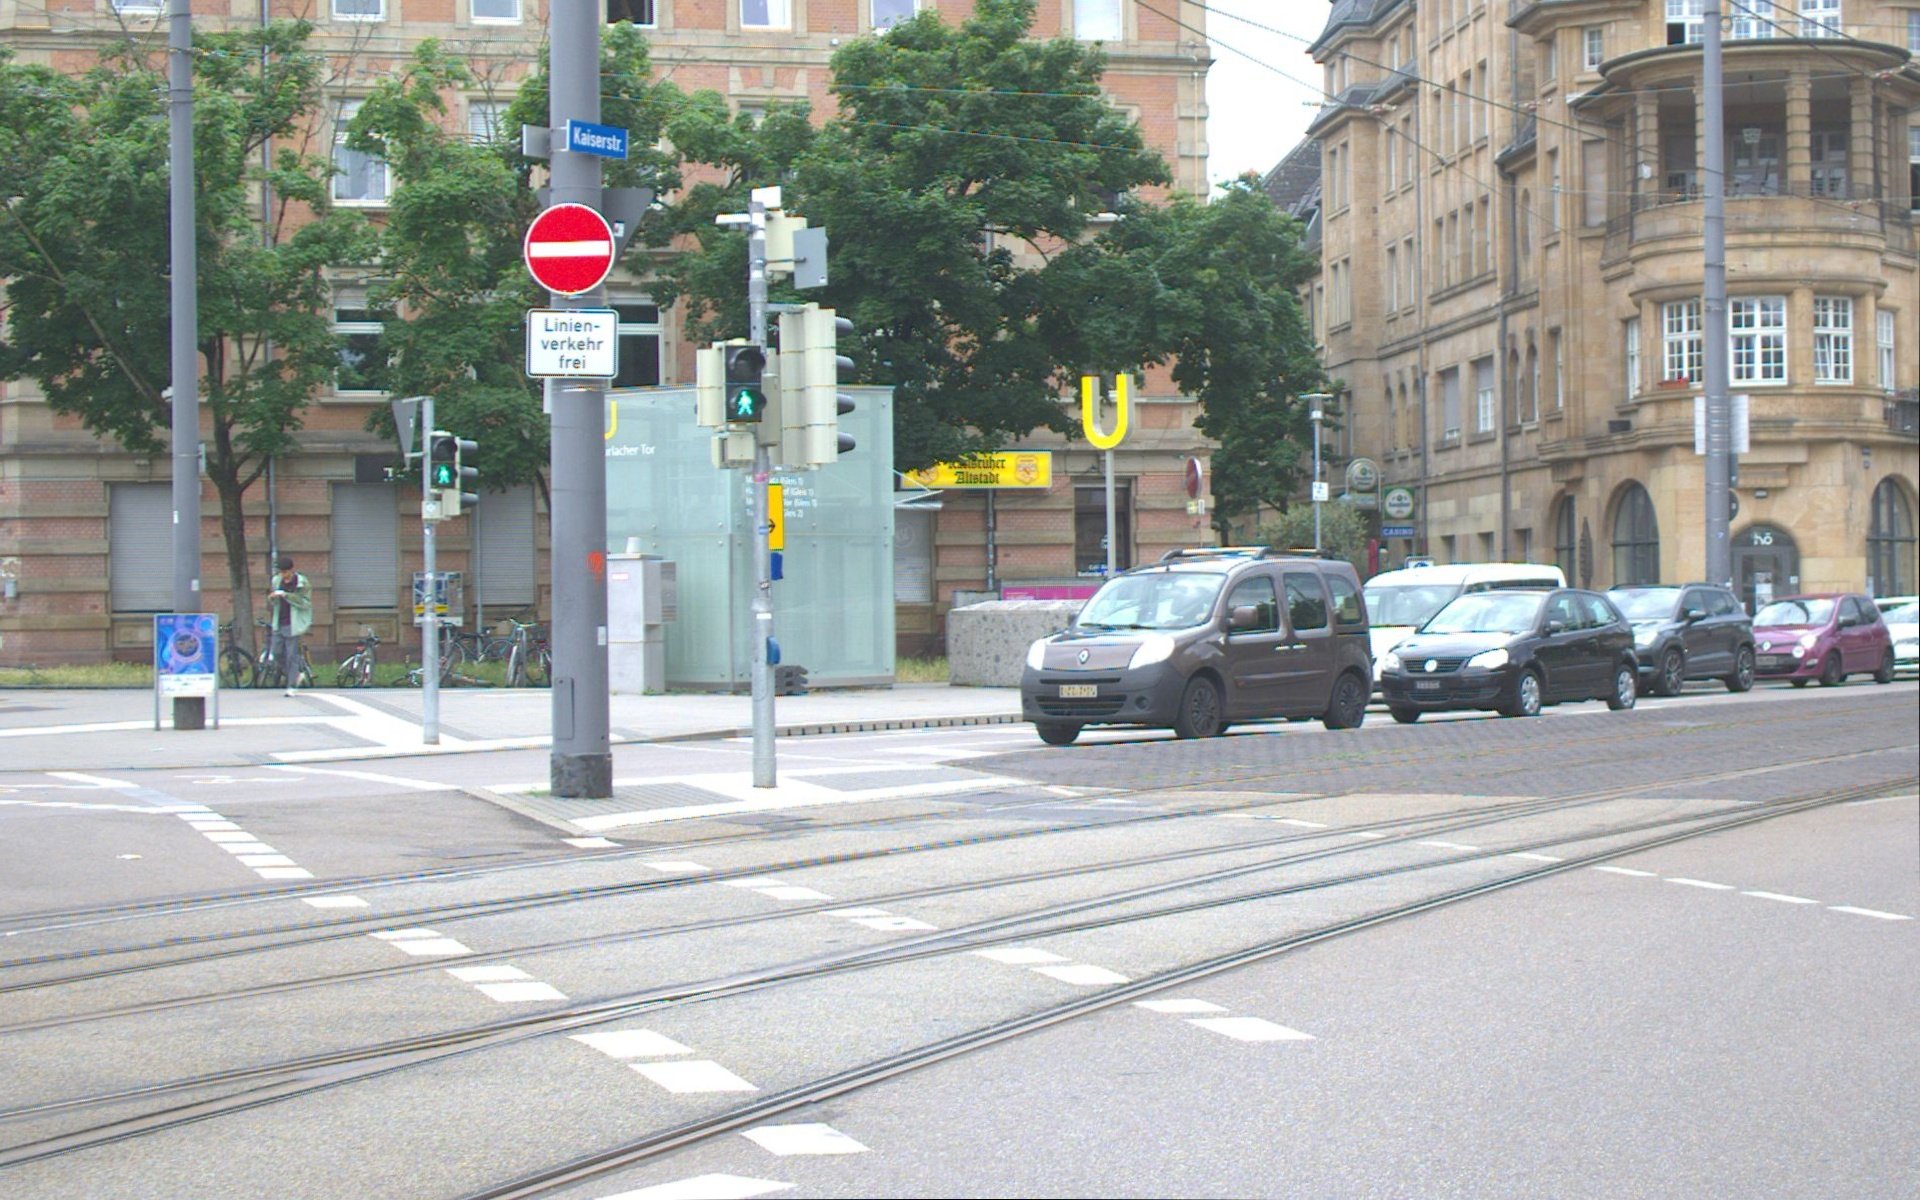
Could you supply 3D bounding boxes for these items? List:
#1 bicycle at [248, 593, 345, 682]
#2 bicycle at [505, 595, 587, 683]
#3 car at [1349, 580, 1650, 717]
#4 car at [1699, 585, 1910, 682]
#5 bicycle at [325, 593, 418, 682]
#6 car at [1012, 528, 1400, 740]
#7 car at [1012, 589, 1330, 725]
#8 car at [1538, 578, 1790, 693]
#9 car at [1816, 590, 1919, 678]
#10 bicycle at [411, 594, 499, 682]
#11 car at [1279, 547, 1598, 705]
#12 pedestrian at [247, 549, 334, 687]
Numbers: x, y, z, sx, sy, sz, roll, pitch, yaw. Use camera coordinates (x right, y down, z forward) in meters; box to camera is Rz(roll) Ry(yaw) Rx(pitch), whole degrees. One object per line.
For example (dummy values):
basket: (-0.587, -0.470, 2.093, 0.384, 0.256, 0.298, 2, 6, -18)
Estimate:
bicycle: (-10.419, 0.582, 54.100, 0.957, 1.349, 3.120, 0, -1, -1)
bicycle: (-6.593, 0.617, 54.937, 0.957, 1.349, 3.120, 0, -1, -1)
car: (6.020, 0.508, 38.033, 1.692, 1.437, 3.992, 0, 0, 35)
car: (13.190, 0.506, 53.578, 1.866, 1.394, 3.887, -3, -1, 35)
bicycle: (-9.264, 0.591, 54.231, 0.957, 1.349, 3.120, 0, -1, -1)
car: (2.438, 0.300, 33.016, 1.692, 1.894, 4.377, 0, 0, 35)
car: (2.408, 0.603, 38.354, 1.692, 1.437, 3.992, 0, 0, 35)
car: (10.133, 0.488, 49.271, 1.867, 1.529, 4.293, -3, -1, 36)
car: (16.101, 0.556, 58.249, 1.749, 1.375, 4.354, -3, -2, 32)
bicycle: (-7.964, 0.602, 54.397, 0.957, 1.349, 3.120, 0, -1, -1)
car: (6.204, 0.299, 44.105, 1.867, 1.909, 5.090, 0, 0, 36)
pedestrian: (-8.466, 0.217, 43.457, 0.909, 1.722, 0.602, 0, 0, -33)
